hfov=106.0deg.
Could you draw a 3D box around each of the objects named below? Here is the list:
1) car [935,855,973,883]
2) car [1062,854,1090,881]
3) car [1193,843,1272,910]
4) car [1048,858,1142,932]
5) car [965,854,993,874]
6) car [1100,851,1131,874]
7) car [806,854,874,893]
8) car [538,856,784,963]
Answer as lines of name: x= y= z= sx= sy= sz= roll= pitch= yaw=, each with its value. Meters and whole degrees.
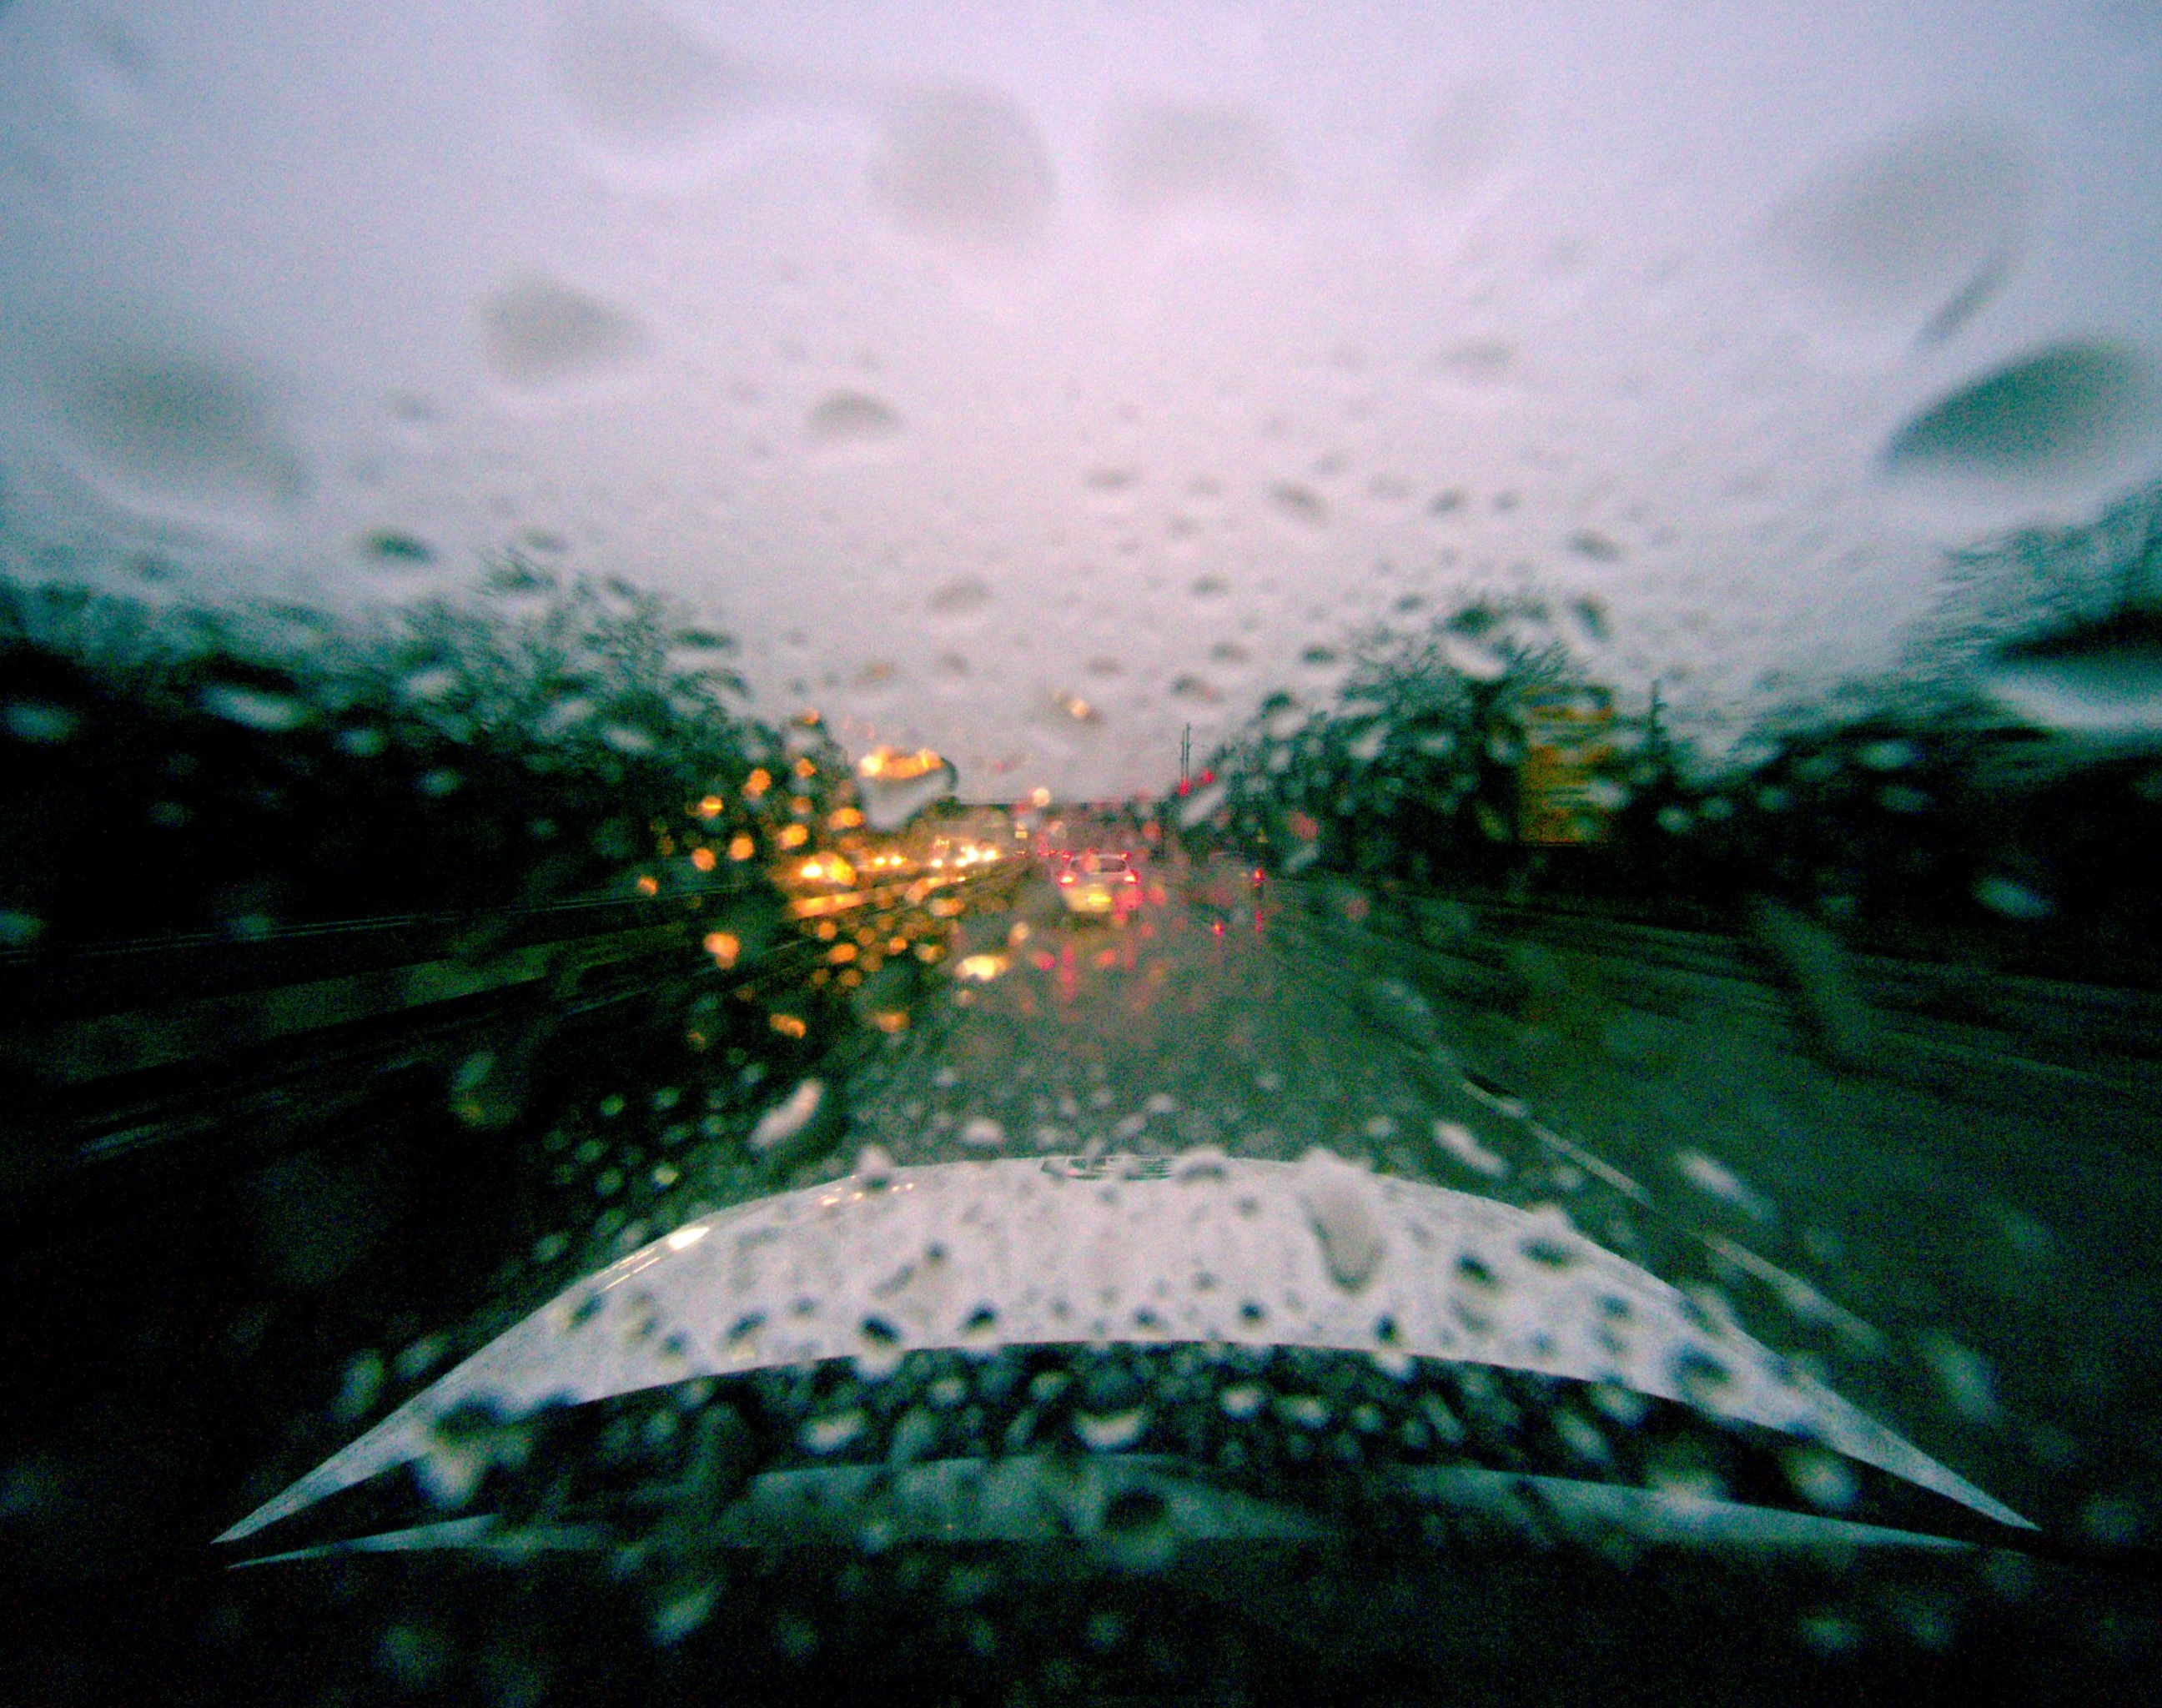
car: x=-7.864 y=0.916 z=50.609 sx=1.761 sy=1.684 sz=3.998 roll=0 pitch=-1 yaw=-1
car: x=-0.399 y=1.058 z=64.598 sx=1.989 sy=2.014 sz=3.994 roll=0 pitch=-1 yaw=-4
car: x=4.835 y=0.700 z=26.461 sx=1.926 sy=2.019 sz=3.774 roll=0 pitch=-1 yaw=1
car: x=0.418 y=0.907 z=19.579 sx=2.016 sy=1.575 sz=4.003 roll=0 pitch=-1 yaw=3
car: x=-9.614 y=0.961 z=77.151 sx=1.981 sy=1.830 sz=5.117 roll=0 pitch=-1 yaw=0
car: x=2.828 y=0.732 z=67.954 sx=1.930 sy=1.546 sz=3.765 roll=-6 pitch=-2 yaw=-6
car: x=-10.752 y=0.852 z=36.708 sx=1.686 sy=1.666 sz=4.433 roll=0 pitch=-1 yaw=1
car: x=-6.421 y=0.773 z=13.035 sx=1.748 sy=1.441 sz=4.001 roll=0 pitch=-1 yaw=1
